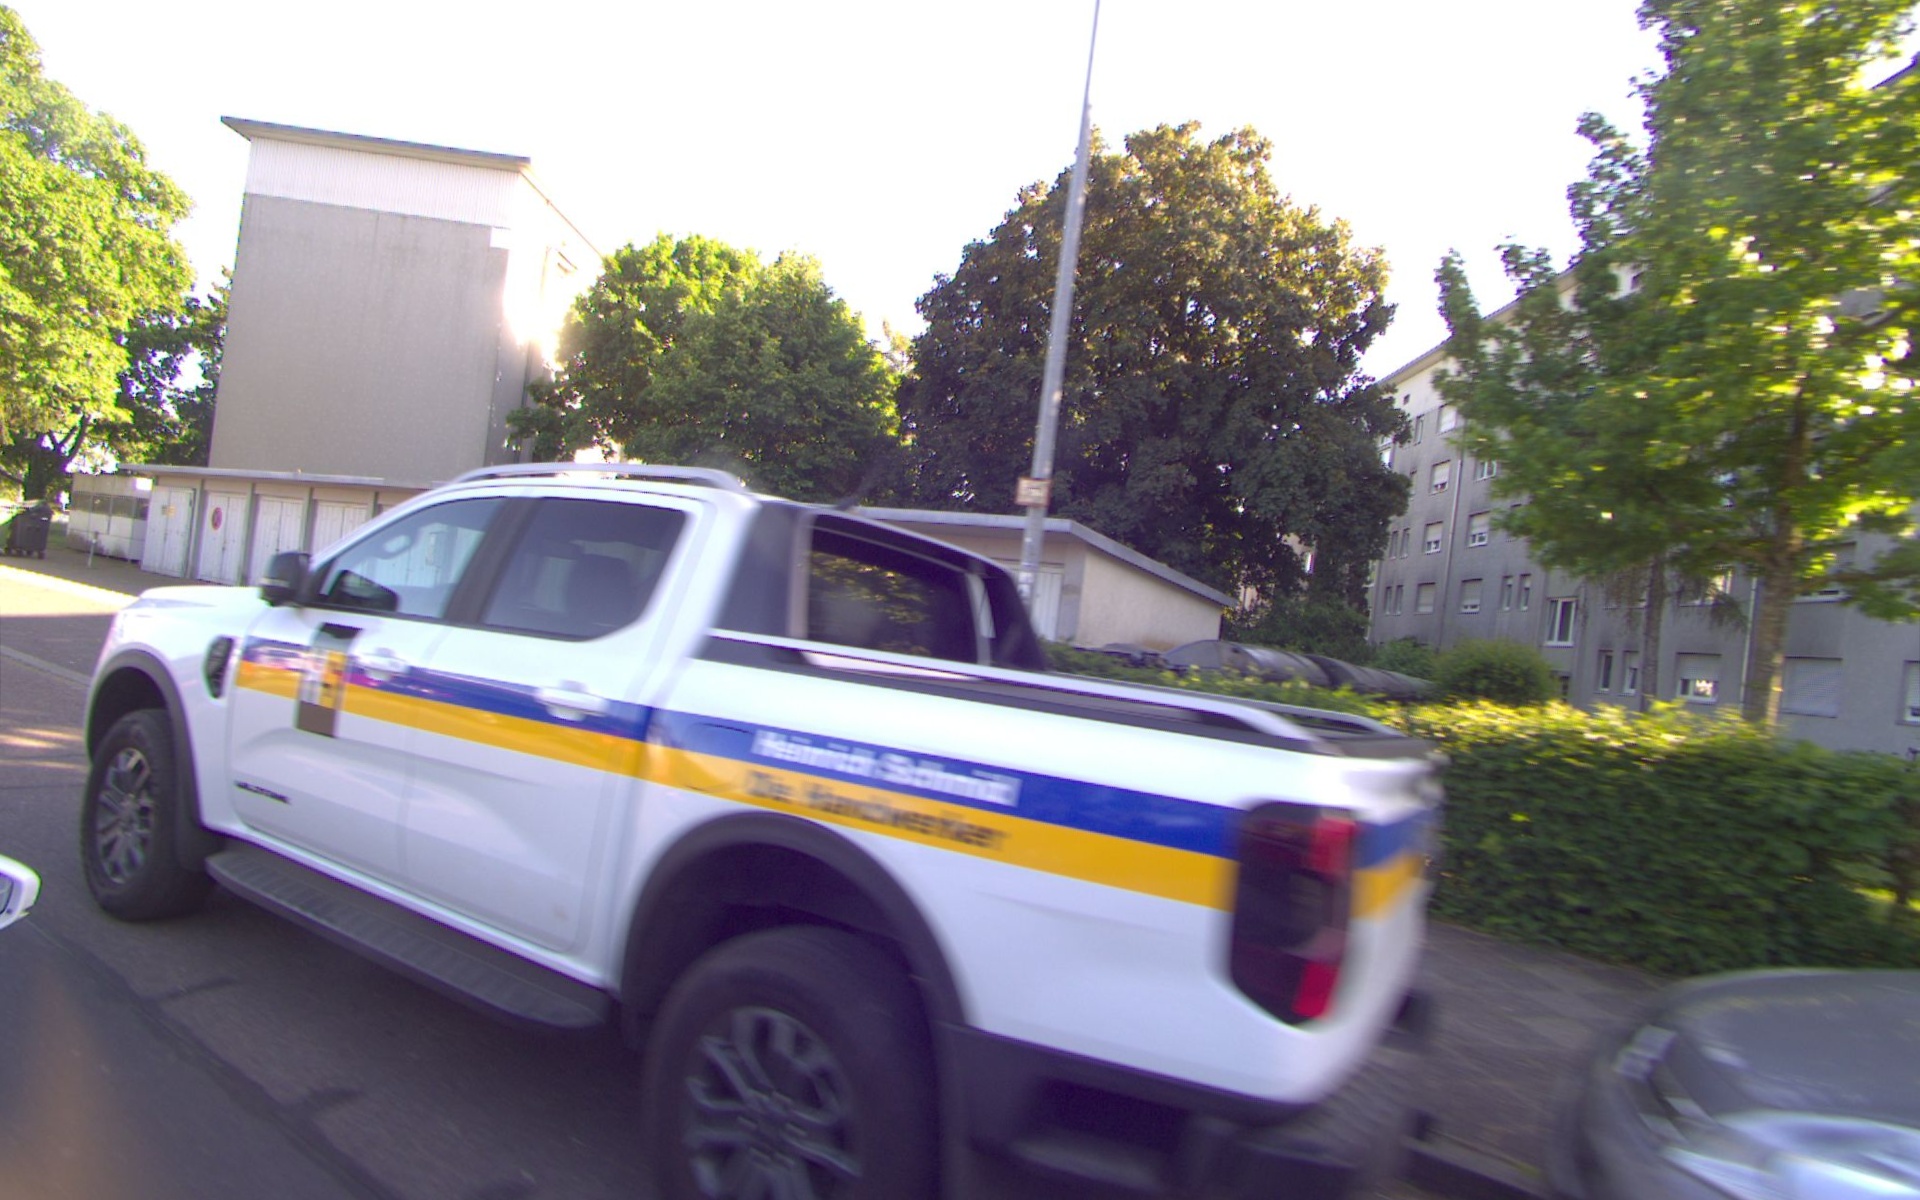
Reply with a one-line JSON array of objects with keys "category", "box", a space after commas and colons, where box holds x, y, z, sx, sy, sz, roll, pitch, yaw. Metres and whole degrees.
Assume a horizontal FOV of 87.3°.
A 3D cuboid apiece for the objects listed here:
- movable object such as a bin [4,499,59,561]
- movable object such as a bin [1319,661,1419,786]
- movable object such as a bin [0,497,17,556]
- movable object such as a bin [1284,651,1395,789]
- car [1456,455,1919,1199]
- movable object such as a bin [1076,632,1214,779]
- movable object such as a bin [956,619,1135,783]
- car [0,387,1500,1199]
[{"category": "movable object such as a bin", "box": [-23.713, -1.783, 25.685, 0.677, 1.432, 0.725, 6, -1, 28]}, {"category": "movable object such as a bin", "box": [5.217, 1.556, 12.798, 0.821, 1.433, 1.076, 5, -2, 37]}, {"category": "movable object such as a bin", "box": [-24.376, -1.911, 24.813, 0.935, 1.432, 1.277, 6, -2, 28]}, {"category": "movable object such as a bin", "box": [4.399, 1.375, 11.620, 0.821, 1.433, 1.076, 5, -2, 37]}, {"category": "car", "box": [3.139, 1.031, 1.136, 4.479, 1.810, 1.838, 7, -3, 32]}, {"category": "movable object such as a bin", "box": [1.928, 1.092, 10.448, 0.853, 1.363, 1.074, 5, -2, 42]}, {"category": "movable object such as a bin", "box": [0.823, 0.951, 9.556, 1.039, 1.363, 1.248, 5, -2, 42]}, {"category": "car", "box": [-1.118, 0.445, 3.624, 5.185, 1.860, 1.912, 7, -3, 31]}]
